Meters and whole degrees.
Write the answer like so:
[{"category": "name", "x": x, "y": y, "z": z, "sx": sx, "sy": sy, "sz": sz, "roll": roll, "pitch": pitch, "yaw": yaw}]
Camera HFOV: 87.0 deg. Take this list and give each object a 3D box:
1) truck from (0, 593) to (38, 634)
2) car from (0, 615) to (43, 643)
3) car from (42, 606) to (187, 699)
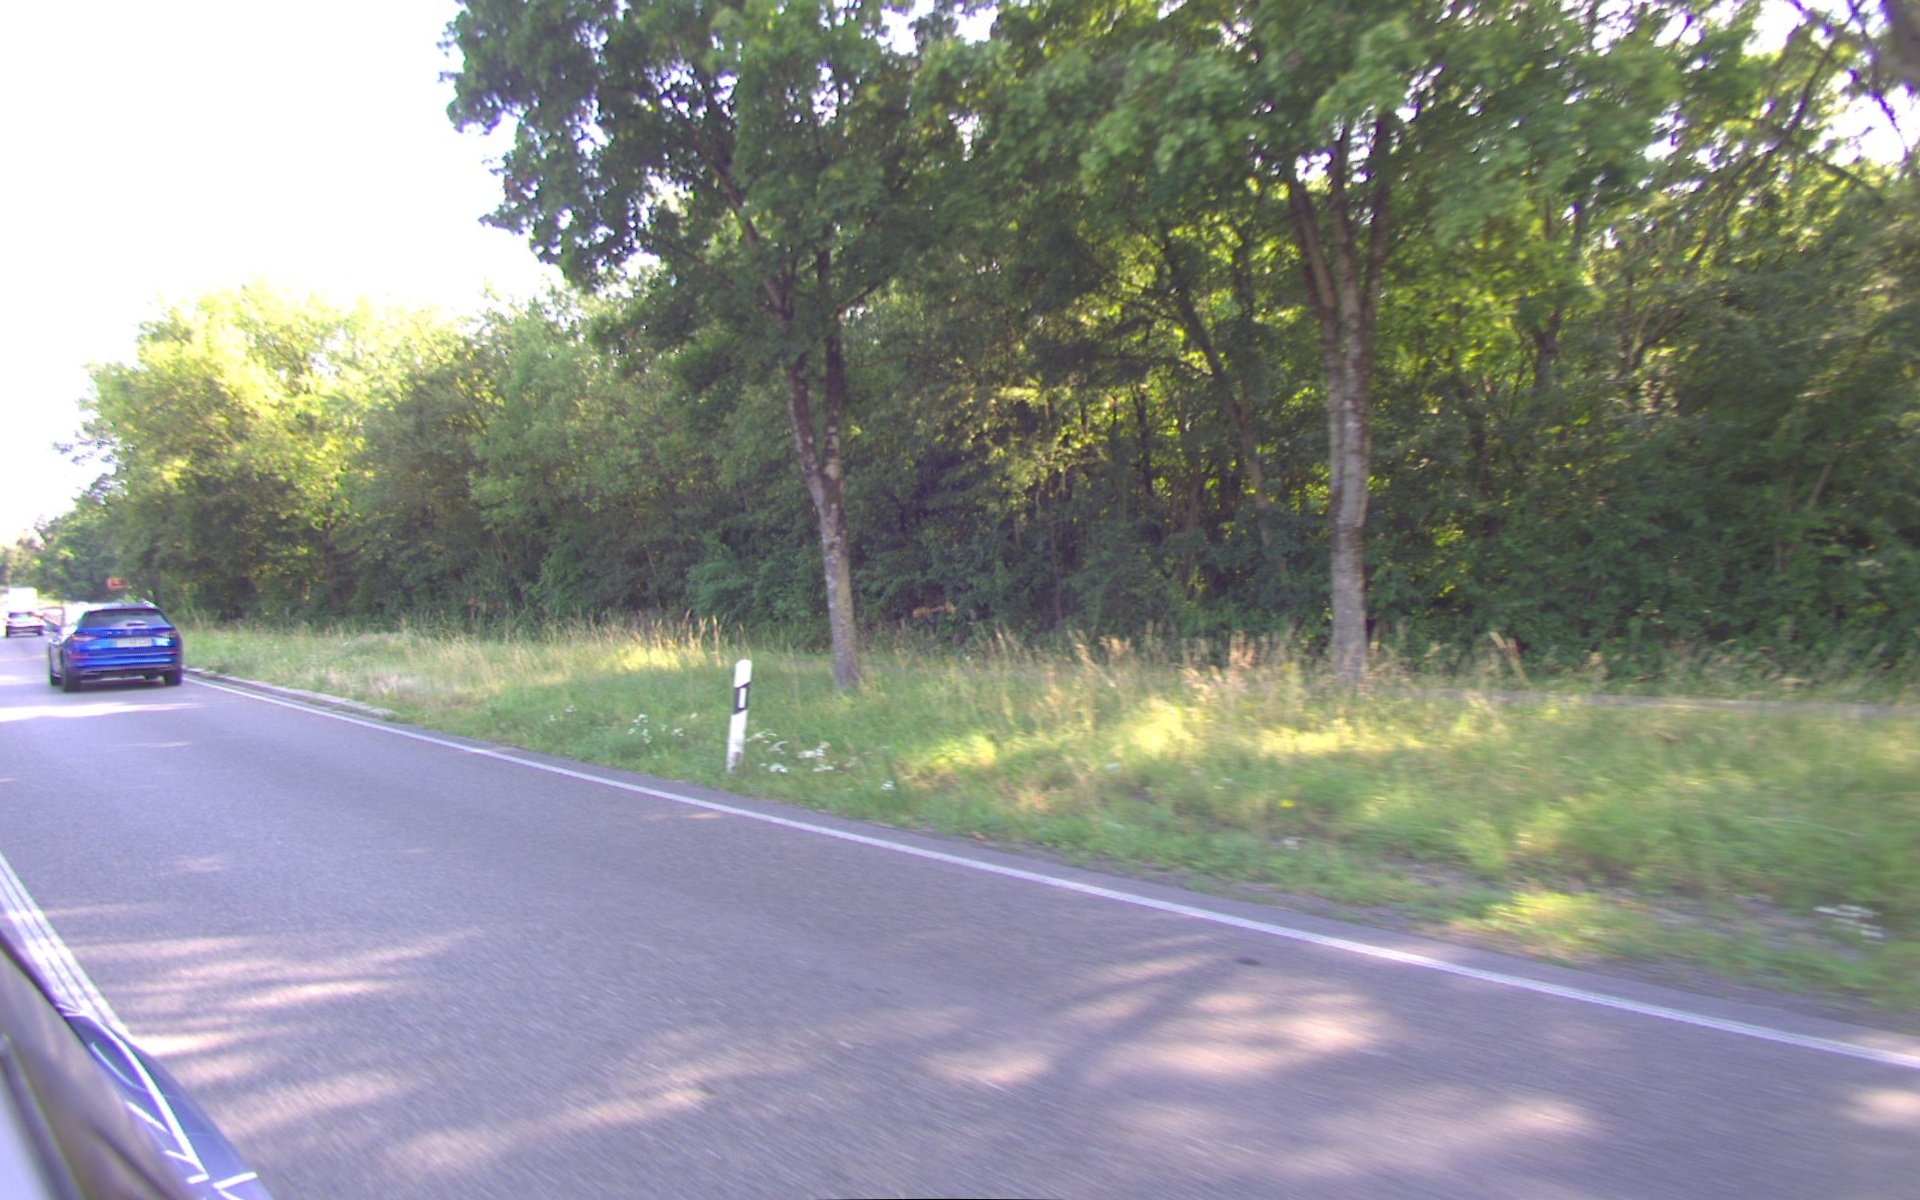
[{"category": "truck", "x": -125.226, "y": 1.837, "z": 134.640, "sx": 3.580, "sy": 5.210, "sz": 10.470, "roll": 0, "pitch": -1, "yaw": -43}, {"category": "car", "x": -57.238, "y": 1.736, "z": 61.766, "sx": 1.867, "sy": 1.644, "sz": 4.256, "roll": -1, "pitch": 0, "yaw": -42}, {"category": "car", "x": -16.965, "y": 0.959, "z": 20.233, "sx": 1.875, "sy": 1.644, "sz": 4.253, "roll": -1, "pitch": 0, "yaw": -45}]
